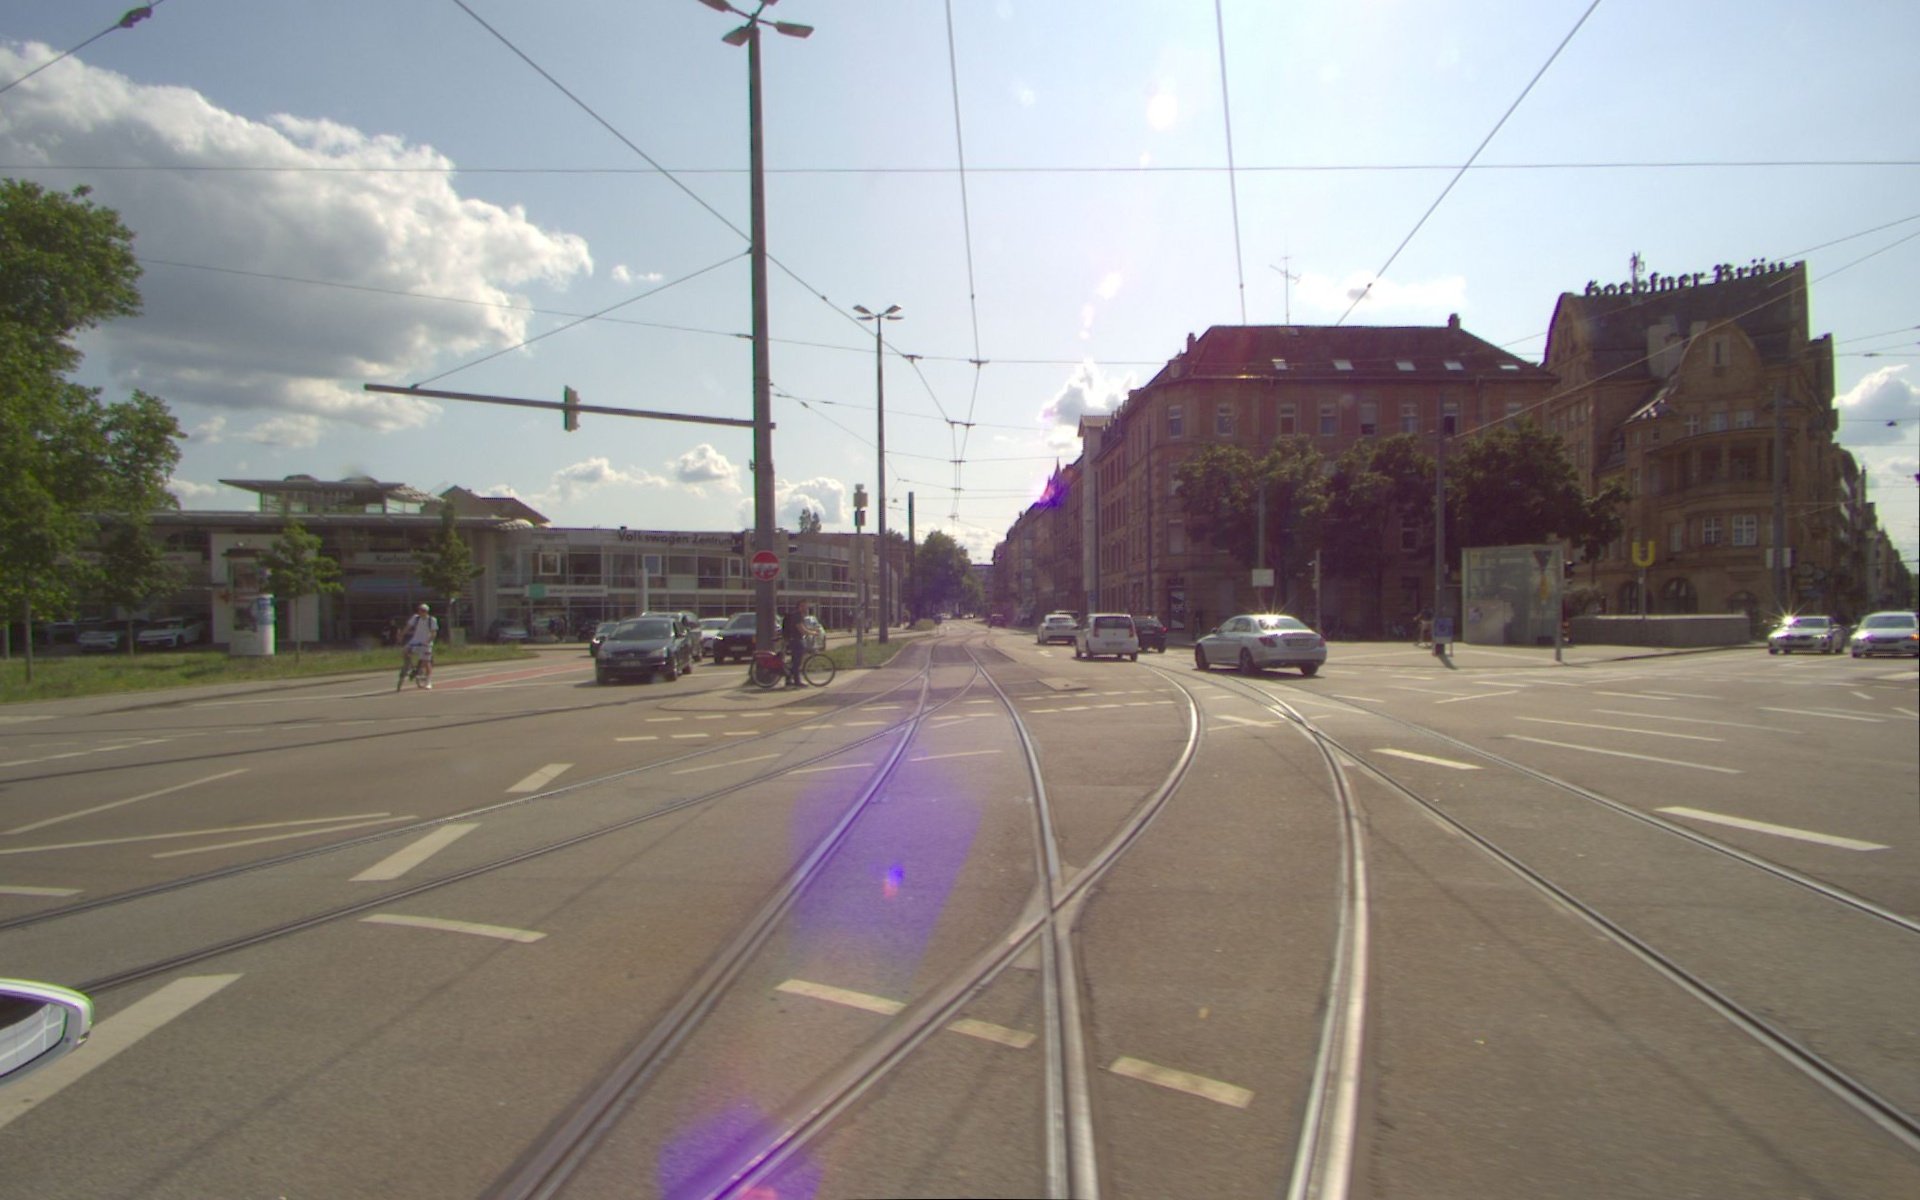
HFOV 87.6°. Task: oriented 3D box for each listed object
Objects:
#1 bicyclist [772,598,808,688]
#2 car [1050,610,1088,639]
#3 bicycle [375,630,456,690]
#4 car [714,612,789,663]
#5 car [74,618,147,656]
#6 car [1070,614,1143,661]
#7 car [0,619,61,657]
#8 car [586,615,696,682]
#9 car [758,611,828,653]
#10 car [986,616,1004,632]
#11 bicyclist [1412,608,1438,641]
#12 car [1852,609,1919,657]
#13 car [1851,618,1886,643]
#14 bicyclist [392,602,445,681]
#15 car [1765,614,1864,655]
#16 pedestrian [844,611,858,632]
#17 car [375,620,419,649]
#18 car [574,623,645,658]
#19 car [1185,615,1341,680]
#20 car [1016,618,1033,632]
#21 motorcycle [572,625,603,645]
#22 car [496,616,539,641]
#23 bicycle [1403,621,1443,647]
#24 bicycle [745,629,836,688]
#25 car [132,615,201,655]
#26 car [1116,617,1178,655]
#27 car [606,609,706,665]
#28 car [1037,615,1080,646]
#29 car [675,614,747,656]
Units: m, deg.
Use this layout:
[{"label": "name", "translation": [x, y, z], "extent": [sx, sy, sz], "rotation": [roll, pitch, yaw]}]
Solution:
[{"label": "bicyclist", "translation": [-3.373, 0.845, 19.860], "extent": [0.650, 1.761, 0.639], "rotation": [1, 0, -13]}, {"label": "car", "translation": [6.511, 1.492, 60.210], "extent": [1.806, 1.673, 4.002], "rotation": [0, -2, -1]}, {"label": "bicycle", "translation": [-11.947, 1.288, 22.050], "extent": [0.747, 1.208, 2.150], "rotation": [-1, 0, -6]}, {"label": "car", "translation": [-6.498, 1.135, 31.545], "extent": [1.661, 1.481, 3.968], "rotation": [-1, 0, -2]}, {"label": "car", "translation": [-46.821, 2.049, 55.291], "extent": [1.942, 1.962, 4.218], "rotation": [-2, -1, -24]}, {"label": "car", "translation": [4.779, 1.188, 33.095], "extent": [1.622, 1.440, 4.000], "rotation": [-1, -1, -3]}, {"label": "car", "translation": [-51.426, 2.114, 54.489], "extent": [1.940, 1.962, 5.057], "rotation": [-2, -1, -21]}, {"label": "car", "translation": [-7.309, 1.066, 23.265], "extent": [1.709, 1.391, 3.640], "rotation": [-1, -1, -6]}, {"label": "car", "translation": [-6.301, 1.180, 38.188], "extent": [1.868, 1.480, 3.969], "rotation": [-1, -1, 2]}, {"label": "car", "translation": [3.824, 2.669, 109.582], "extent": [1.806, 1.673, 4.002], "rotation": [0, -2, 0]}, {"label": "bicyclist", "translation": [18.146, 0.952, 39.082], "extent": [0.624, 1.236, 0.923], "rotation": [-1, 0, 7]}, {"label": "car", "translation": [31.251, 1.075, 33.415], "extent": [3.961, 1.503, 1.972], "rotation": [1, -1, -44]}, {"label": "car", "translation": [62.037, 2.075, 68.401], "extent": [1.702, 1.704, 3.894], "rotation": [-1, -2, 42]}, {"label": "bicyclist", "translation": [-11.975, 0.907, 22.159], "extent": [0.747, 1.705, 0.760], "rotation": [-1, 0, -6]}, {"label": "car", "translation": [32.496, 1.306, 38.058], "extent": [4.487, 1.448, 2.031], "rotation": [1, -2, -39]}, {"label": "pedestrian", "translation": [-9.071, 1.796, 83.279], "extent": [0.862, 1.759, 0.875], "rotation": [1, -1, 16]}, {"label": "car", "translation": [-32.823, 2.025, 58.457], "extent": [1.795, 1.553, 3.905], "rotation": [-2, -1, -24]}, {"label": "car", "translation": [-14.561, 1.662, 41.772], "extent": [1.709, 1.305, 4.000], "rotation": [-1, -1, -3]}, {"label": "car", "translation": [7.462, 1.110, 25.209], "extent": [1.900, 1.474, 4.757], "rotation": [0, -1, -9]}, {"label": "car", "translation": [7.865, 3.131, 123.268], "extent": [1.806, 1.673, 4.002], "rotation": [0, -2, 0]}, {"label": "motorcycle", "translation": [-23.738, 2.237, 63.824], "extent": [0.558, 1.200, 1.956], "rotation": [0, -2, 28]}, {"label": "car", "translation": [-29.078, 1.895, 65.901], "extent": [1.790, 1.553, 3.914], "rotation": [-2, -1, -12]}, {"label": "bicycle", "translation": [18.171, 1.306, 39.358], "extent": [0.833, 0.982, 1.961], "rotation": [-1, -1, 7]}, {"label": "bicycle", "translation": [-3.358, 1.149, 19.833], "extent": [1.751, 1.140, 0.639], "rotation": [0, 0, -13]}, {"label": "car", "translation": [-44.276, 1.957, 55.964], "extent": [1.968, 2.039, 4.218], "rotation": [-2, -1, -24]}, {"label": "car", "translation": [7.337, 1.391, 39.673], "extent": [1.671, 1.390, 4.133], "rotation": [0, -1, 0]}, {"label": "car", "translation": [-9.353, 1.107, 31.123], "extent": [1.709, 1.594, 4.000], "rotation": [-1, 0, 2]}, {"label": "car", "translation": [4.688, 1.459, 48.155], "extent": [1.820, 1.437, 3.680], "rotation": [0, -1, 2]}, {"label": "car", "translation": [-9.416, 1.289, 38.113], "extent": [1.599, 1.481, 3.968], "rotation": [-1, 0, 2]}]
